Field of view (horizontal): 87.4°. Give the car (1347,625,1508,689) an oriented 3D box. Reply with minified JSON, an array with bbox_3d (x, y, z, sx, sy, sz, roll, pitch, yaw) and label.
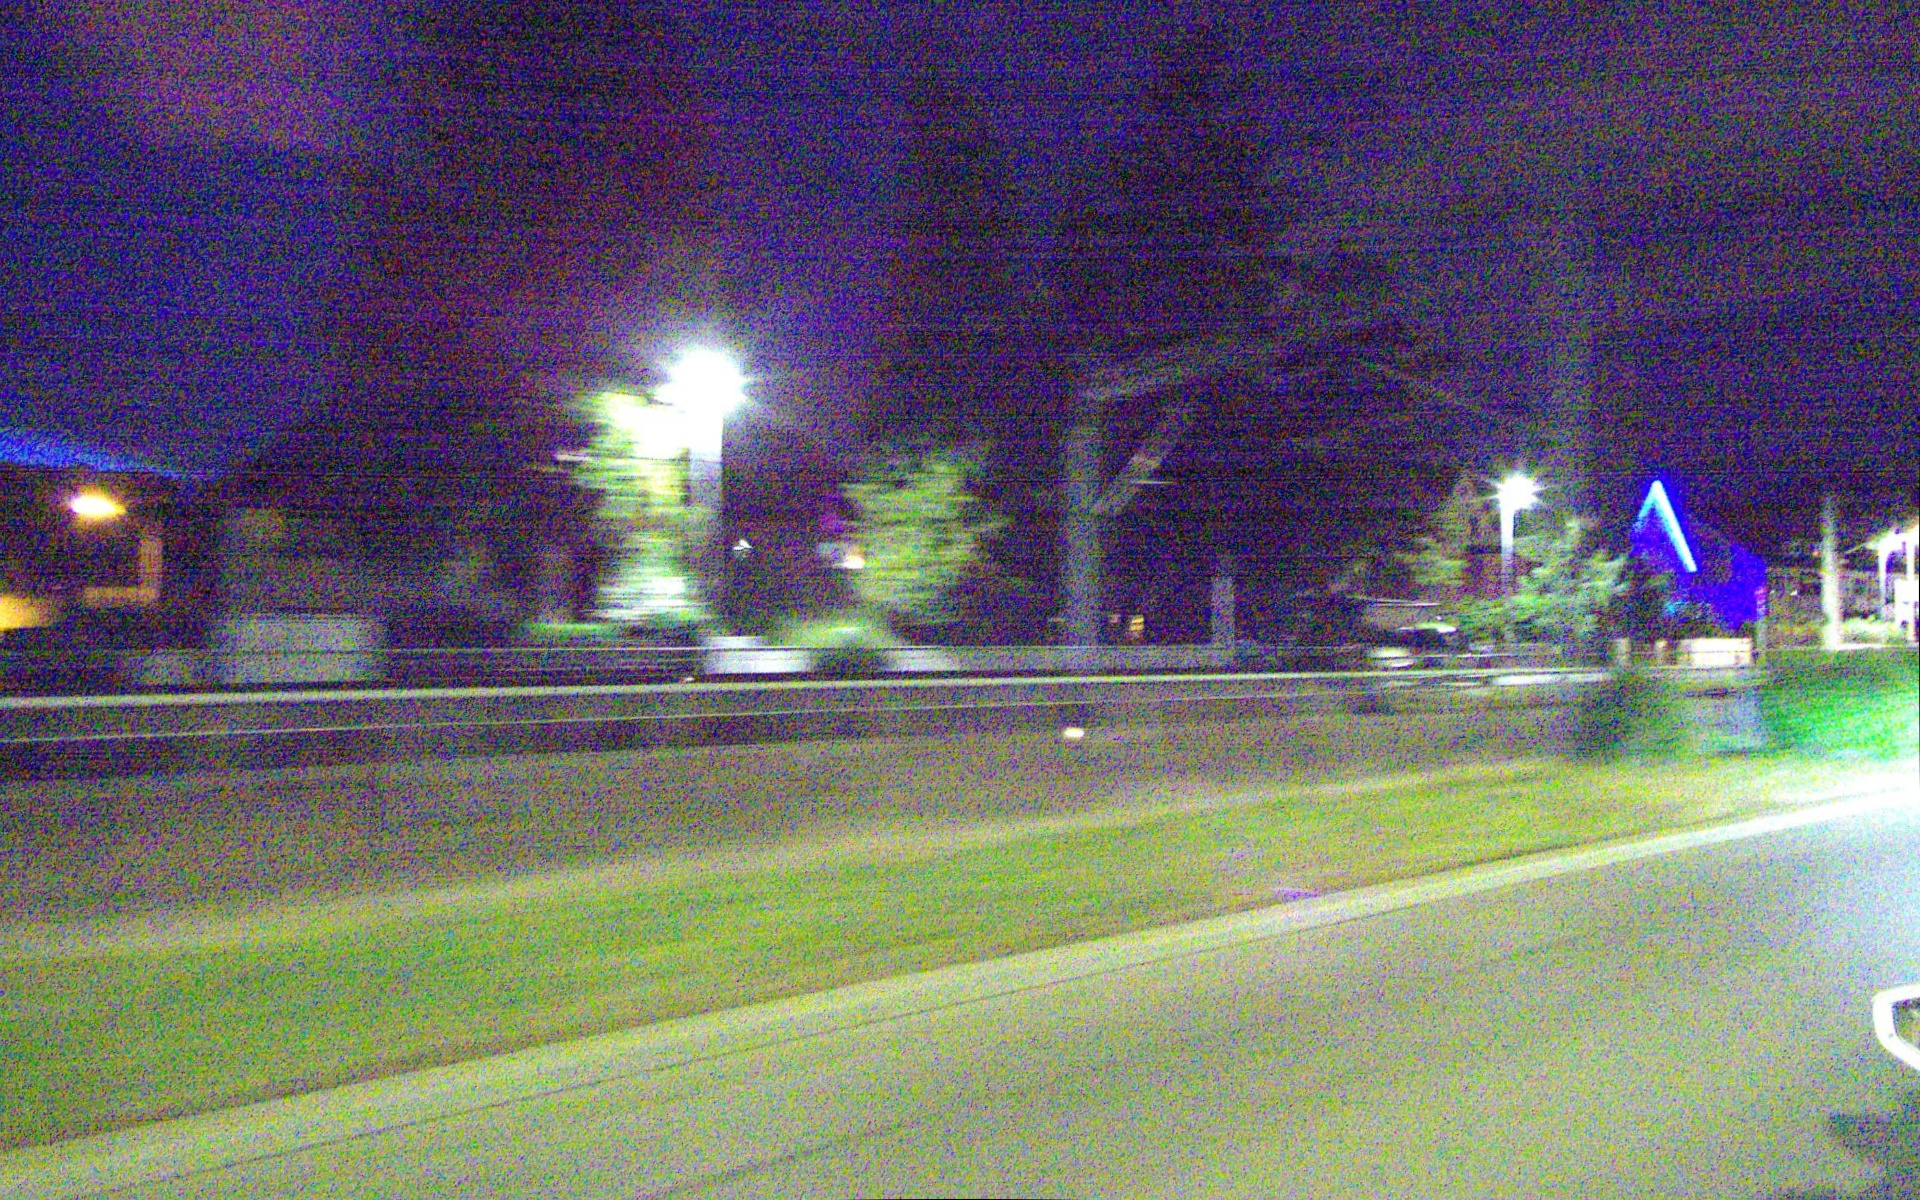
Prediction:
[{"bbox_3d":[12.018,1.434,25.800,4.049,1.524,1.856,1,-2,-32],"label":"car"}]
